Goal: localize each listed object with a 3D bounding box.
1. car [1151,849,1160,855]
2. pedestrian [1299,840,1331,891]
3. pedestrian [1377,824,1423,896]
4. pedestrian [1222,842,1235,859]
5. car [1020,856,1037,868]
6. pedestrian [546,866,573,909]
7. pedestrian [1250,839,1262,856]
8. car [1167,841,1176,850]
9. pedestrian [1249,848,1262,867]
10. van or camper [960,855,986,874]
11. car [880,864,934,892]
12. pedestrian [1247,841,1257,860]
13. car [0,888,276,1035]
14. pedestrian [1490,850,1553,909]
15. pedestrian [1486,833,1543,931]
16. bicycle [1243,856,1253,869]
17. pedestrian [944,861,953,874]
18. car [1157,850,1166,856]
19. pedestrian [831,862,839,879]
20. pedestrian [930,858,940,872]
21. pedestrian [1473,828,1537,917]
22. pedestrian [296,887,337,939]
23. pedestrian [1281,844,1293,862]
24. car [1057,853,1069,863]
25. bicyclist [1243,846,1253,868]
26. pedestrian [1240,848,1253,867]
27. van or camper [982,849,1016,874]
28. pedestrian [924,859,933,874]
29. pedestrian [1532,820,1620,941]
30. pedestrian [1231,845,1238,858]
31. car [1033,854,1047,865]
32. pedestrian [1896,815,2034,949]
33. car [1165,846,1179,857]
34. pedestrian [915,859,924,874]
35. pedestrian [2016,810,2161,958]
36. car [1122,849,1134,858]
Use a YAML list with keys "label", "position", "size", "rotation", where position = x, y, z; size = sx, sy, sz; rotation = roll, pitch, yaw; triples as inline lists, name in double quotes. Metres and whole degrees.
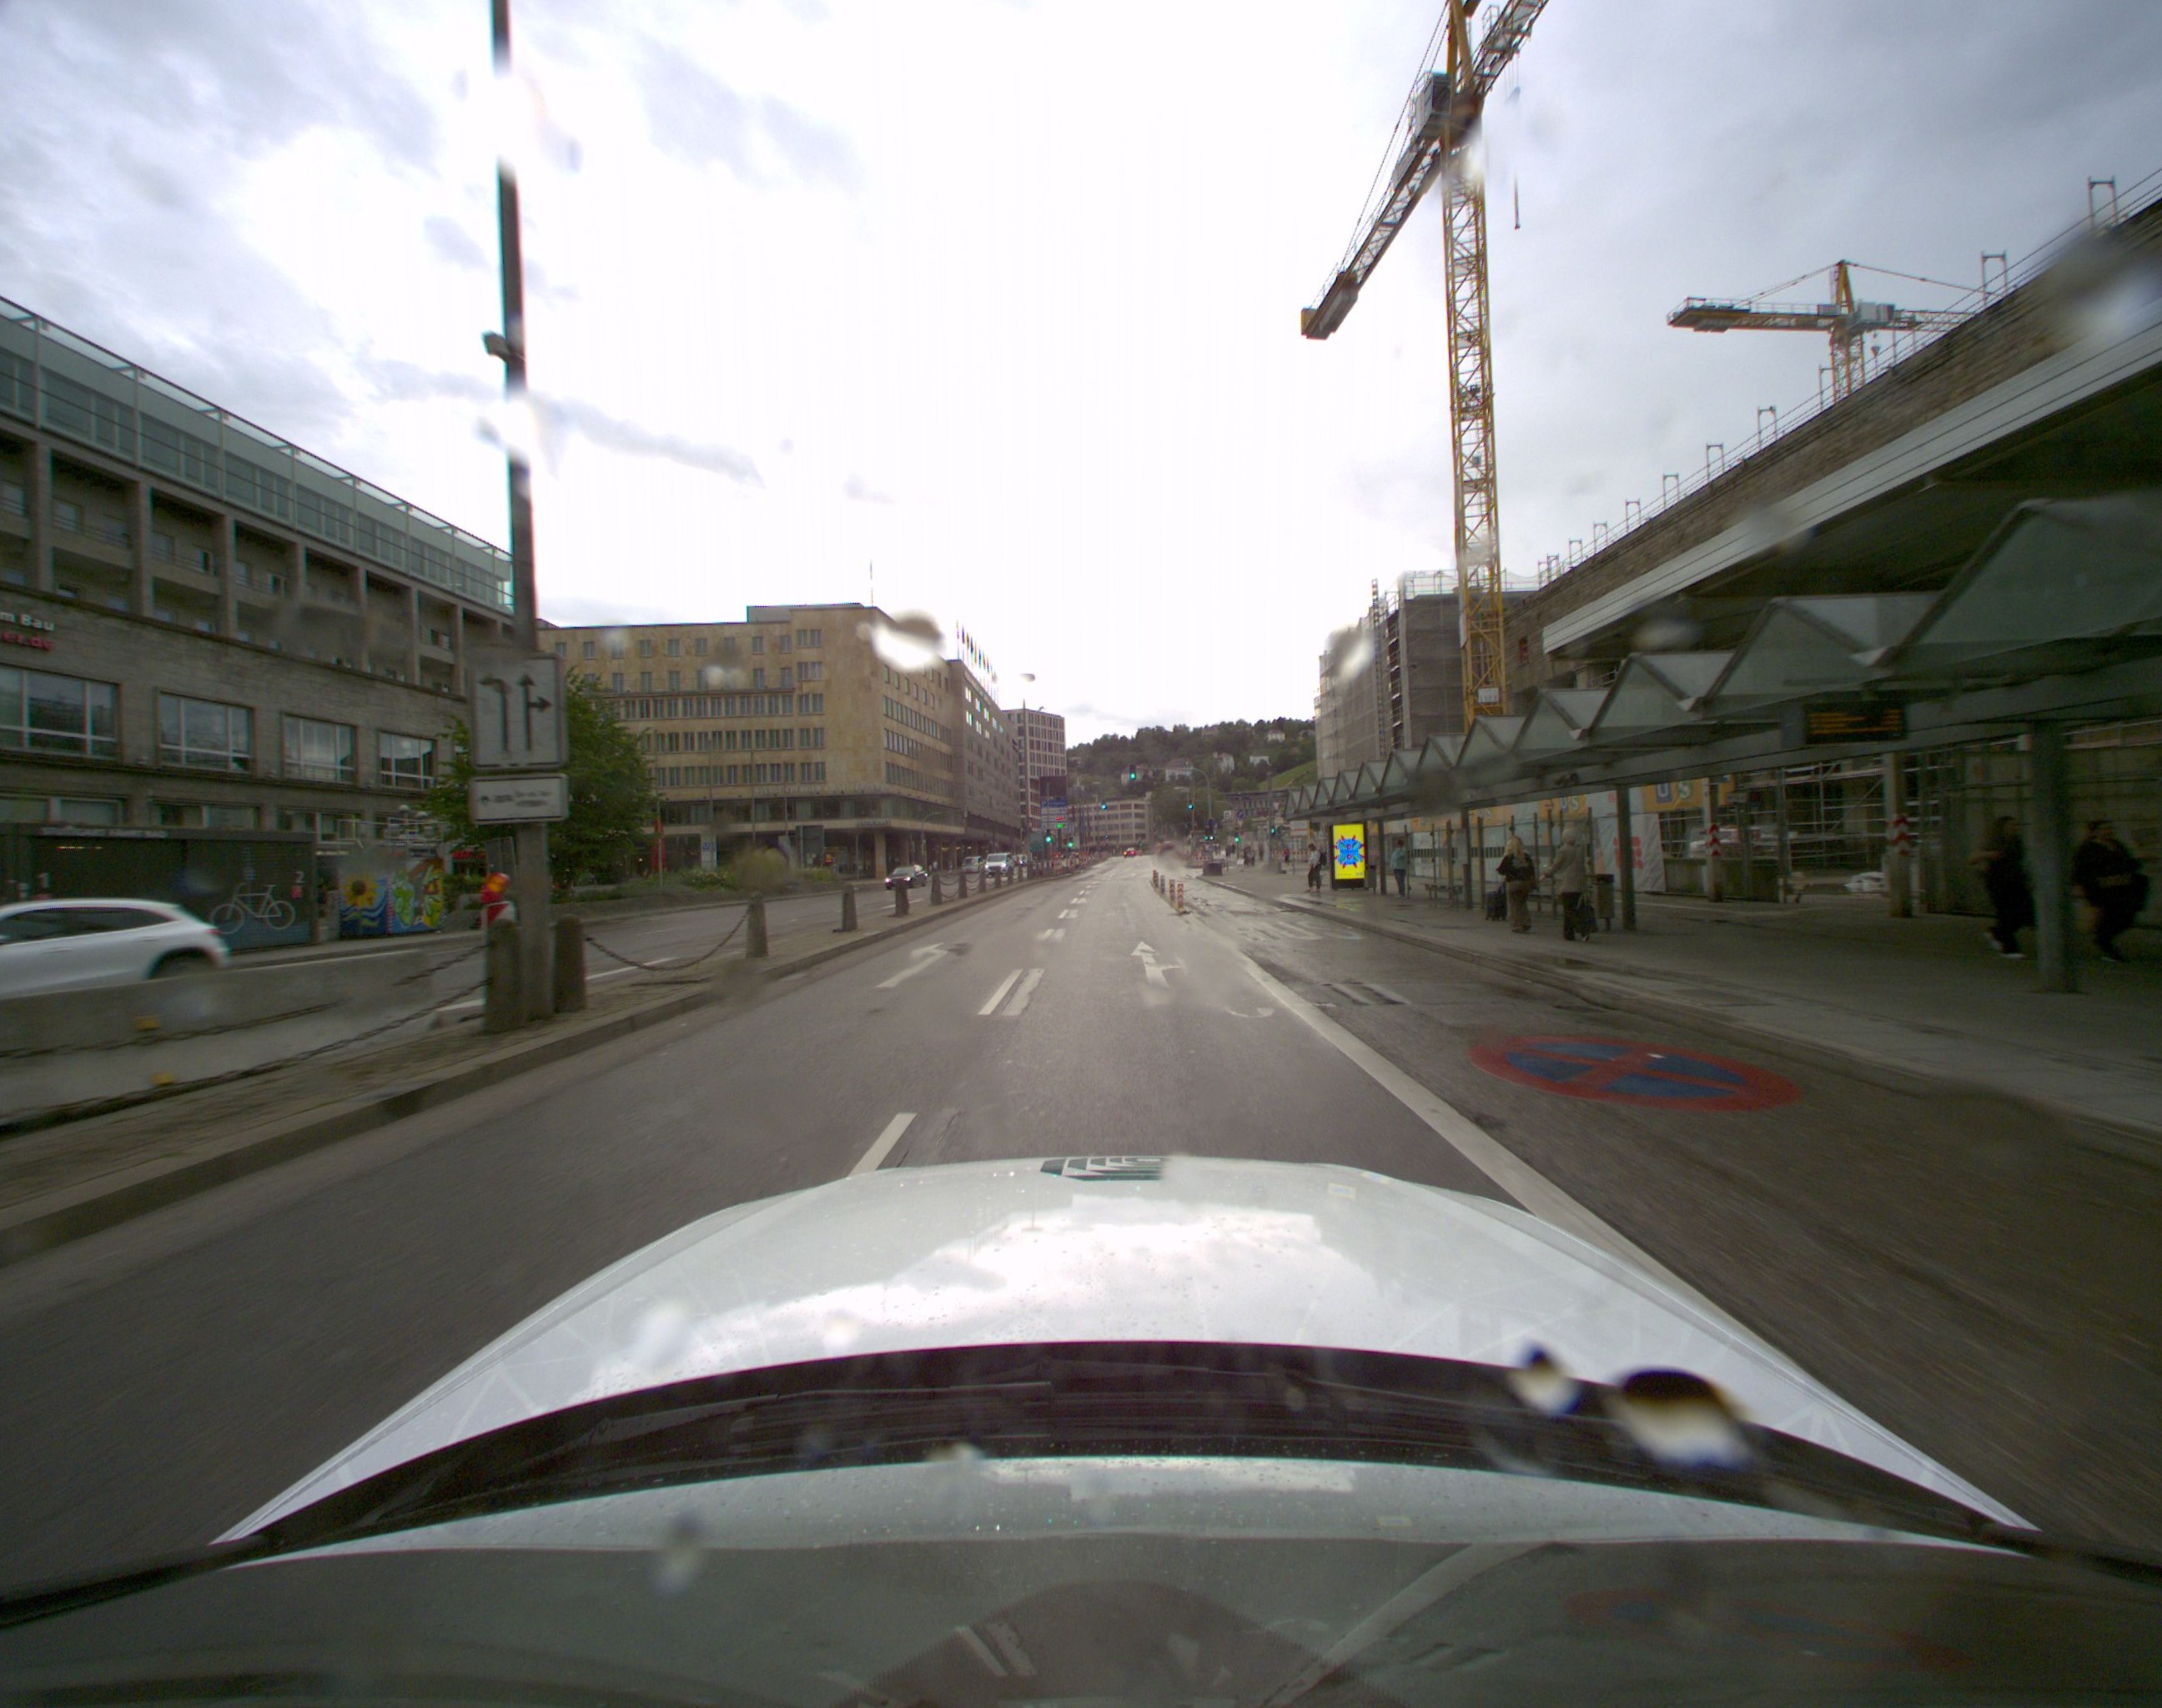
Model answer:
- label: "car"
  position: [17.839, -0.546, 194.947]
  size: [1.812, 1.442, 4.003]
  rotation: [-1, 0, 3]
- label: "pedestrian"
  position: [8.017, 0.390, 27.897]
  size: [0.705, 1.679, 0.717]
  rotation: [-2, 0, -25]
- label: "pedestrian"
  position: [9.248, 0.170, 23.618]
  size: [0.808, 2.050, 0.916]
  rotation: [-1, 0, -38]
- label: "pedestrian"
  position: [16.081, -0.380, 88.704]
  size: [0.937, 1.841, 0.953]
  rotation: [-3, -1, 34]
- label: "car"
  position: [-7.412, 1.115, 115.415]
  size: [1.760, 1.609, 4.231]
  rotation: [-3, -1, 4]
- label: "pedestrian"
  position: [-25.007, 1.605, 39.066]
  size: [0.664, 2.013, 0.794]
  rotation: [-3, 0, 4]
- label: "pedestrian"
  position: [19.524, -0.682, 91.030]
  size: [0.955, 1.841, 0.857]
  rotation: [-2, -1, -44]
- label: "car"
  position: [20.009, -1.901, 180.277]
  size: [1.767, 1.639, 4.005]
  rotation: [-3, -2, 5]
- label: "pedestrian"
  position: [15.261, 0.322, 71.238]
  size: [0.787, 1.608, 0.841]
  rotation: [-3, -1, 33]
- label: "van or camper"
  position: [-12.389, 1.198, 93.642]
  size: [1.985, 2.013, 4.970]
  rotation: [-3, -1, 4]
- label: "car"
  position: [-11.246, 1.552, 53.069]
  size: [1.984, 1.617, 4.984]
  rotation: [-3, -1, 5]
- label: "pedestrian"
  position: [17.609, -0.345, 83.901]
  size: [0.858, 1.841, 0.800]
  rotation: [-3, -1, 13]
- label: "car"
  position: [-13.567, 1.389, 10.217]
  size: [1.955, 1.564, 4.836]
  rotation: [-4, 0, 1]
- label: "pedestrian"
  position: [9.492, 0.543, 17.578]
  size: [0.910, 1.230, 0.841]
  rotation: [-1, 0, 2]
- label: "pedestrian"
  position: [7.203, 0.460, 13.556]
  size: [0.519, 1.566, 0.729]
  rotation: [-2, 0, 1]
- label: "bicycle"
  position: [14.206, 0.713, 69.148]
  size: [0.703, 1.049, 1.811]
  rotation: [-1, 0, 8]
- label: "pedestrian"
  position: [-16.244, 1.652, 99.623]
  size: [0.791, 1.526, 0.918]
  rotation: [-3, -1, 6]
- label: "car"
  position: [20.781, -0.340, 209.931]
  size: [1.986, 1.442, 4.003]
  rotation: [-1, 0, 2]
- label: "pedestrian"
  position: [-24.592, 1.636, 81.473]
  size: [0.696, 1.644, 0.647]
  rotation: [-2, -1, -15]
- label: "pedestrian"
  position: [-15.645, 1.170, 87.311]
  size: [0.718, 1.557, 0.896]
  rotation: [-3, -1, 5]
- label: "pedestrian"
  position: [8.141, 0.353, 15.667]
  size: [0.805, 1.660, 0.805]
  rotation: [-1, 0, 1]
- label: "pedestrian"
  position: [-31.150, 2.402, 33.181]
  size: [0.761, 2.013, 1.090]
  rotation: [-3, -1, 40]
- label: "pedestrian"
  position: [18.725, -0.060, 74.066]
  size: [0.767, 1.608, 0.860]
  rotation: [-2, -1, -11]
- label: "car"
  position: [-3.660, 0.823, 165.853]
  size: [1.984, 1.750, 4.005]
  rotation: [-3, -1, 5]
- label: "bicyclist"
  position: [14.217, 0.235, 69.256]
  size: [0.699, 1.845, 0.970]
  rotation: [-1, -1, 8]
- label: "pedestrian"
  position: [14.550, 0.340, 71.668]
  size: [0.787, 1.608, 0.841]
  rotation: [-3, -1, 32]
- label: "van or camper"
  position: [-7.028, 0.645, 70.377]
  size: [1.984, 2.014, 5.195]
  rotation: [-2, -1, 4]
- label: "pedestrian"
  position: [-16.385, 1.340, 87.385]
  size: [0.718, 1.557, 0.907]
  rotation: [-3, -1, 5]
- label: "pedestrian"
  position: [7.303, 0.377, 12.053]
  size: [0.760, 1.693, 0.822]
  rotation: [-2, 0, 1]
- label: "pedestrian"
  position: [22.020, -0.341, 116.898]
  size: [0.940, 1.841, 0.870]
  rotation: [-3, -1, 10]
- label: "car"
  position: [-7.904, 1.014, 156.594]
  size: [1.984, 2.013, 4.006]
  rotation: [-4, 0, 5]
- label: "pedestrian"
  position: [11.035, 0.332, 10.194]
  size: [0.902, 1.607, 0.745]
  rotation: [-1, 0, 2]
- label: "car"
  position: [15.020, -0.372, 135.045]
  size: [1.985, 1.706, 4.003]
  rotation: [-3, -1, 3]
- label: "pedestrian"
  position: [-17.376, 1.331, 87.645]
  size: [0.718, 1.557, 1.007]
  rotation: [-3, -1, 5]
- label: "pedestrian"
  position: [11.618, 0.334, 9.409]
  size: [0.704, 1.607, 0.730]
  rotation: [-3, 0, 1]
- label: "car"
  position: [8.715, -0.103, 150.536]
  size: [1.986, 1.552, 4.001]
  rotation: [-3, -1, 2]
